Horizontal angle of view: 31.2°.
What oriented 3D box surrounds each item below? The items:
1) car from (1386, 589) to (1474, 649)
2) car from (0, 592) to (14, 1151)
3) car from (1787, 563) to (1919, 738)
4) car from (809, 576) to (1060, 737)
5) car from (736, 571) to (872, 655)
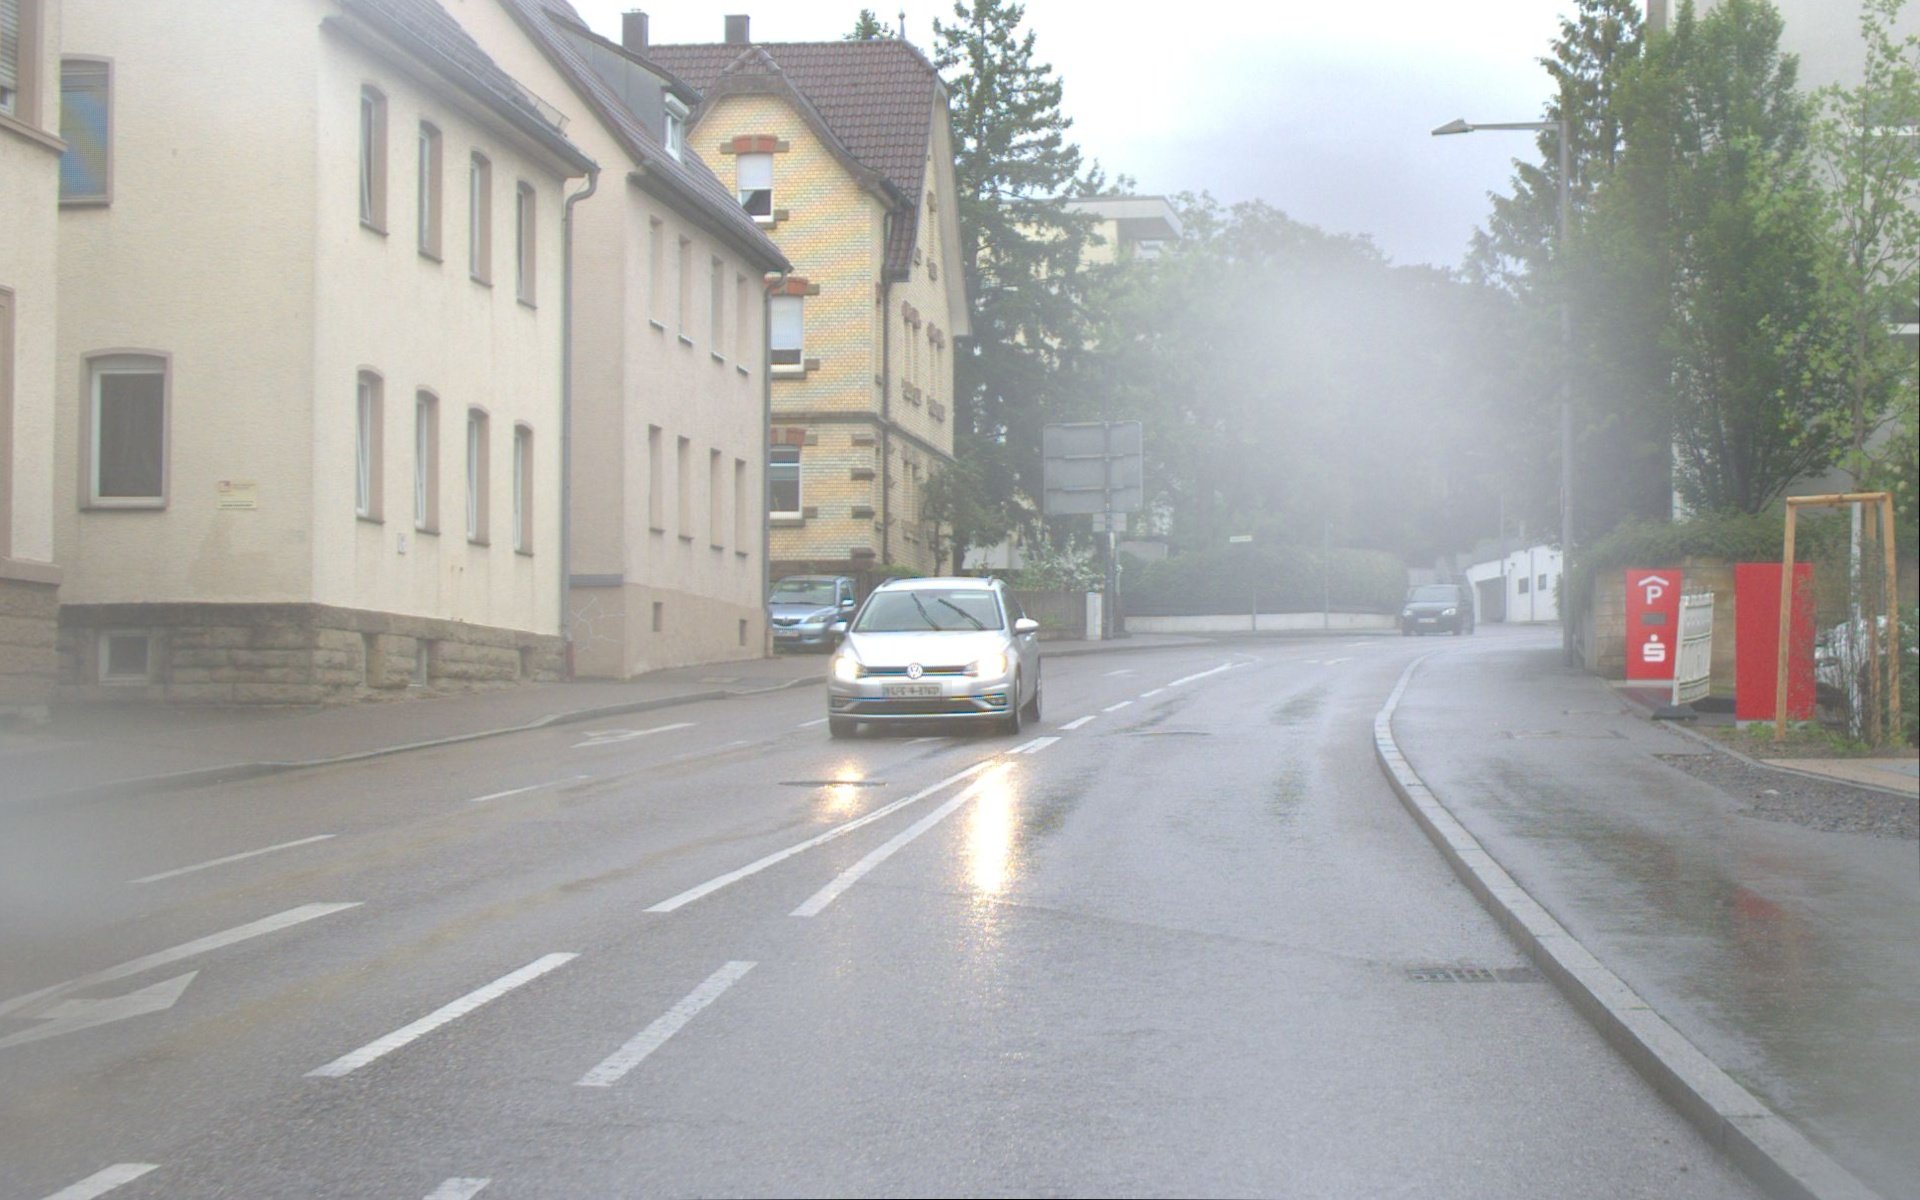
[{"bbox_3d":[13.295,0.546,97.096,1.746,1.566,3.810,3,1,18],"label":"car"},{"bbox_3d":[-3.650,0.713,6.702,1.799,1.434,4.687,0,0,8],"label":"car"},{"bbox_3d":[9.337,0.450,30.551,3.668,1.498,1.776,1,1,8],"label":"car"},{"bbox_3d":[-0.169,0.489,33.332,1.799,1.434,4.687,0,0,8],"label":"car"},{"bbox_3d":[-2.933,0.227,65.400,1.771,1.498,3.881,1,1,10],"label":"car"}]
